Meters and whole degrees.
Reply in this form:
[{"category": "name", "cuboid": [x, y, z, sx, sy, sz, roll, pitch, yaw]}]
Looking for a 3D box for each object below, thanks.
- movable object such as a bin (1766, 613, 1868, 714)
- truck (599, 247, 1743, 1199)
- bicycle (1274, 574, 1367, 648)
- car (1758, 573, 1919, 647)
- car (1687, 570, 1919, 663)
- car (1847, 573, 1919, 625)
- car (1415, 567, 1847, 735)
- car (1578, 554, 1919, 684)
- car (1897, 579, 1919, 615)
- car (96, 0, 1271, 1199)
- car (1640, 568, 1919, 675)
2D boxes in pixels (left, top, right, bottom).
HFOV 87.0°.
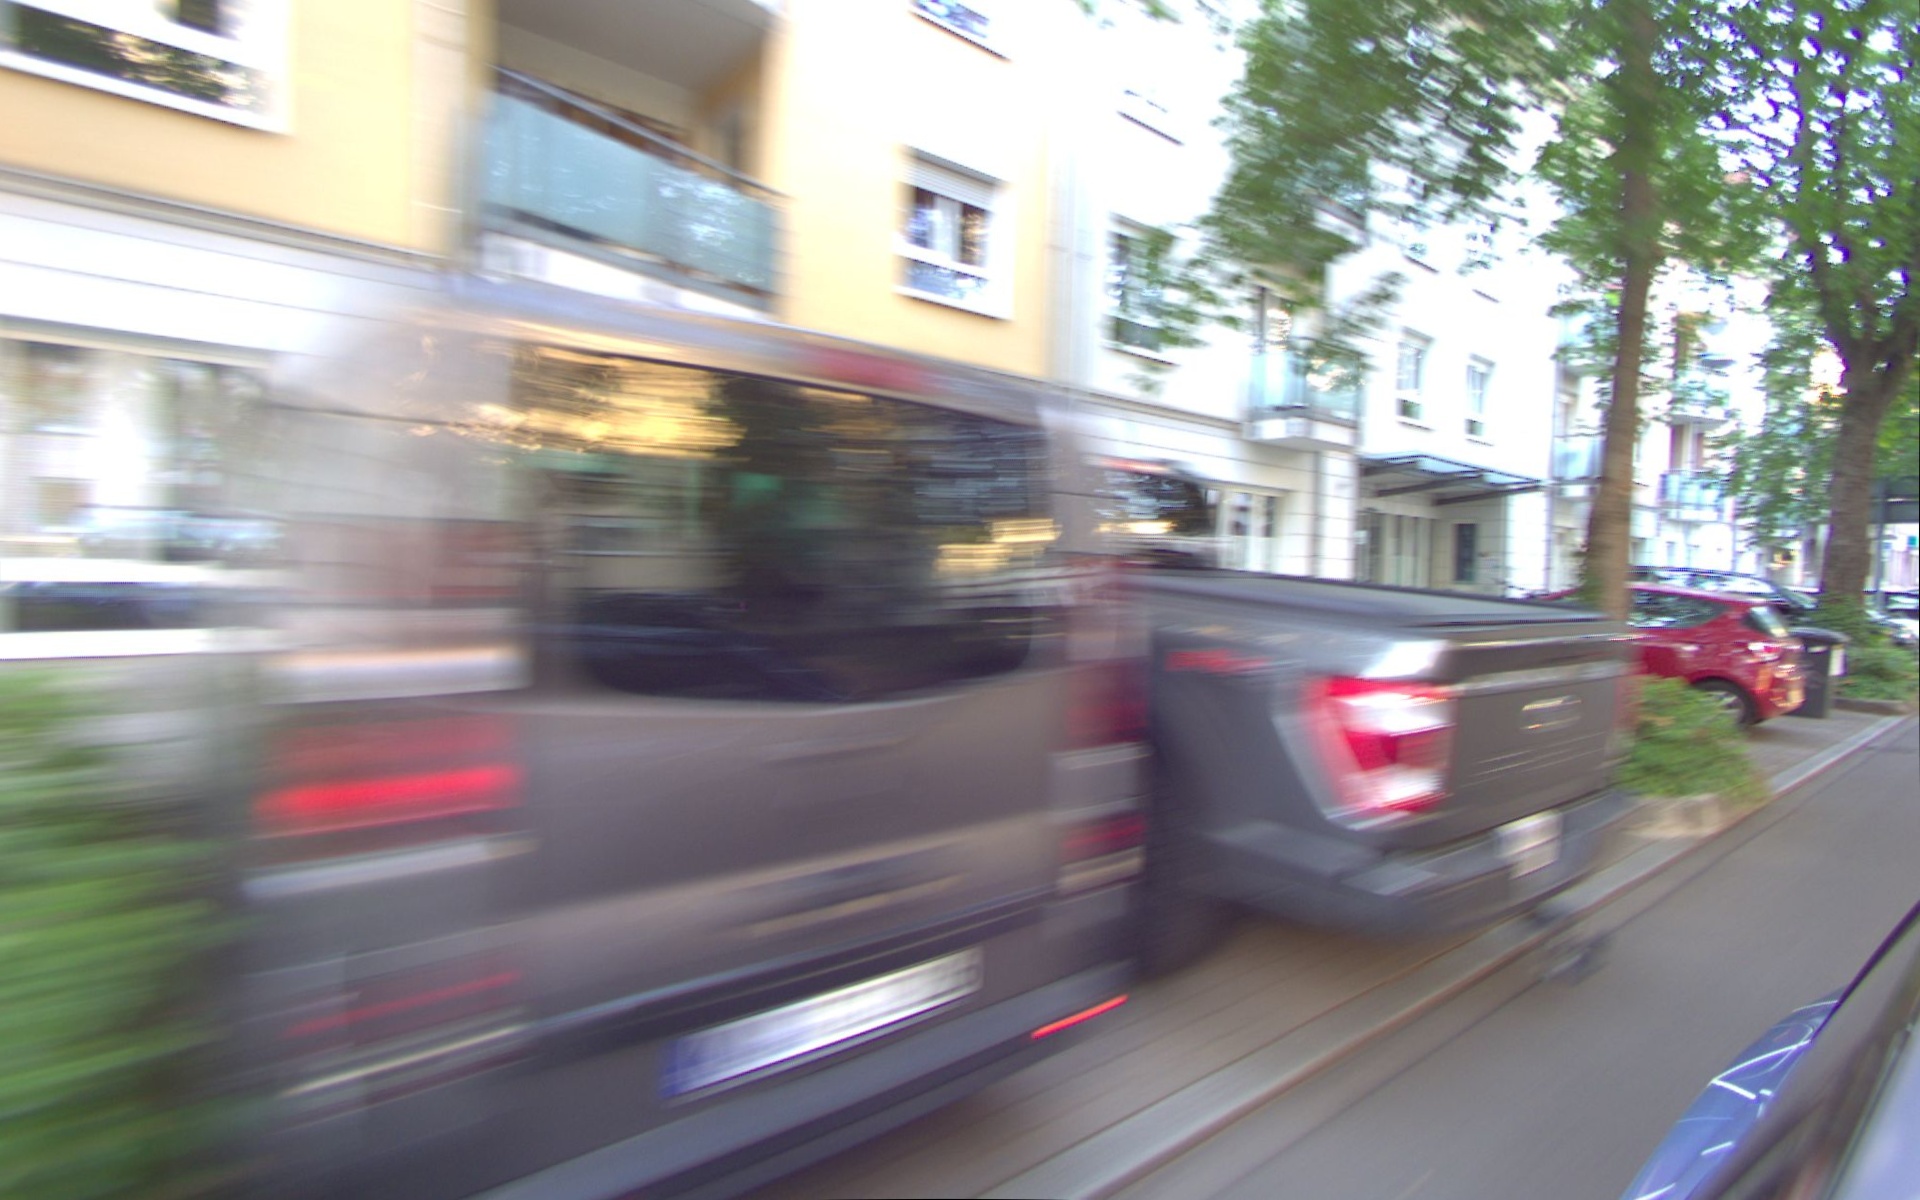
[{"category": "movable object such as a bin", "cuboid": [10.314, 0.738, 12.182, 0.771, 1.097, 0.762, 0, 3, -40]}, {"category": "truck", "cuboid": [0.223, 0.217, 5.402, 2.173, 2.339, 5.901, 0, 2, -40]}, {"category": "bicycle", "cuboid": [5.478, 0.151, 15.305, 1.849, 1.049, 0.425, 0, 3, -41]}, {"category": "car", "cuboid": [21.979, 0.249, 24.361, 4.087, 1.468, 1.904, 7, 6, 44]}, {"category": "car", "cuboid": [17.651, 0.310, 20.314, 1.765, 1.485, 4.611, 0, 5, -41]}, {"category": "car", "cuboid": [32.269, 0.032, 33.572, 1.883, 1.604, 3.979, 0, 5, -41]}, {"category": "car", "cuboid": [7.525, 0.429, 11.604, 1.845, 1.563, 3.783, 0, 2, -42]}, {"category": "car", "cuboid": [13.546, 0.211, 17.300, 1.977, 1.636, 4.649, 0, 6, -44]}, {"category": "car", "cuboid": [42.159, 0.024, 41.956, 1.973, 1.444, 4.476, 0, 5, -36]}, {"category": "car", "cuboid": [-1.568, 0.288, 3.549, 2.159, 2.092, 4.609, 0, 2, -41]}, {"category": "car", "cuboid": [15.529, 0.316, 18.897, 1.894, 1.455, 4.238, 0, 6, -38]}]
